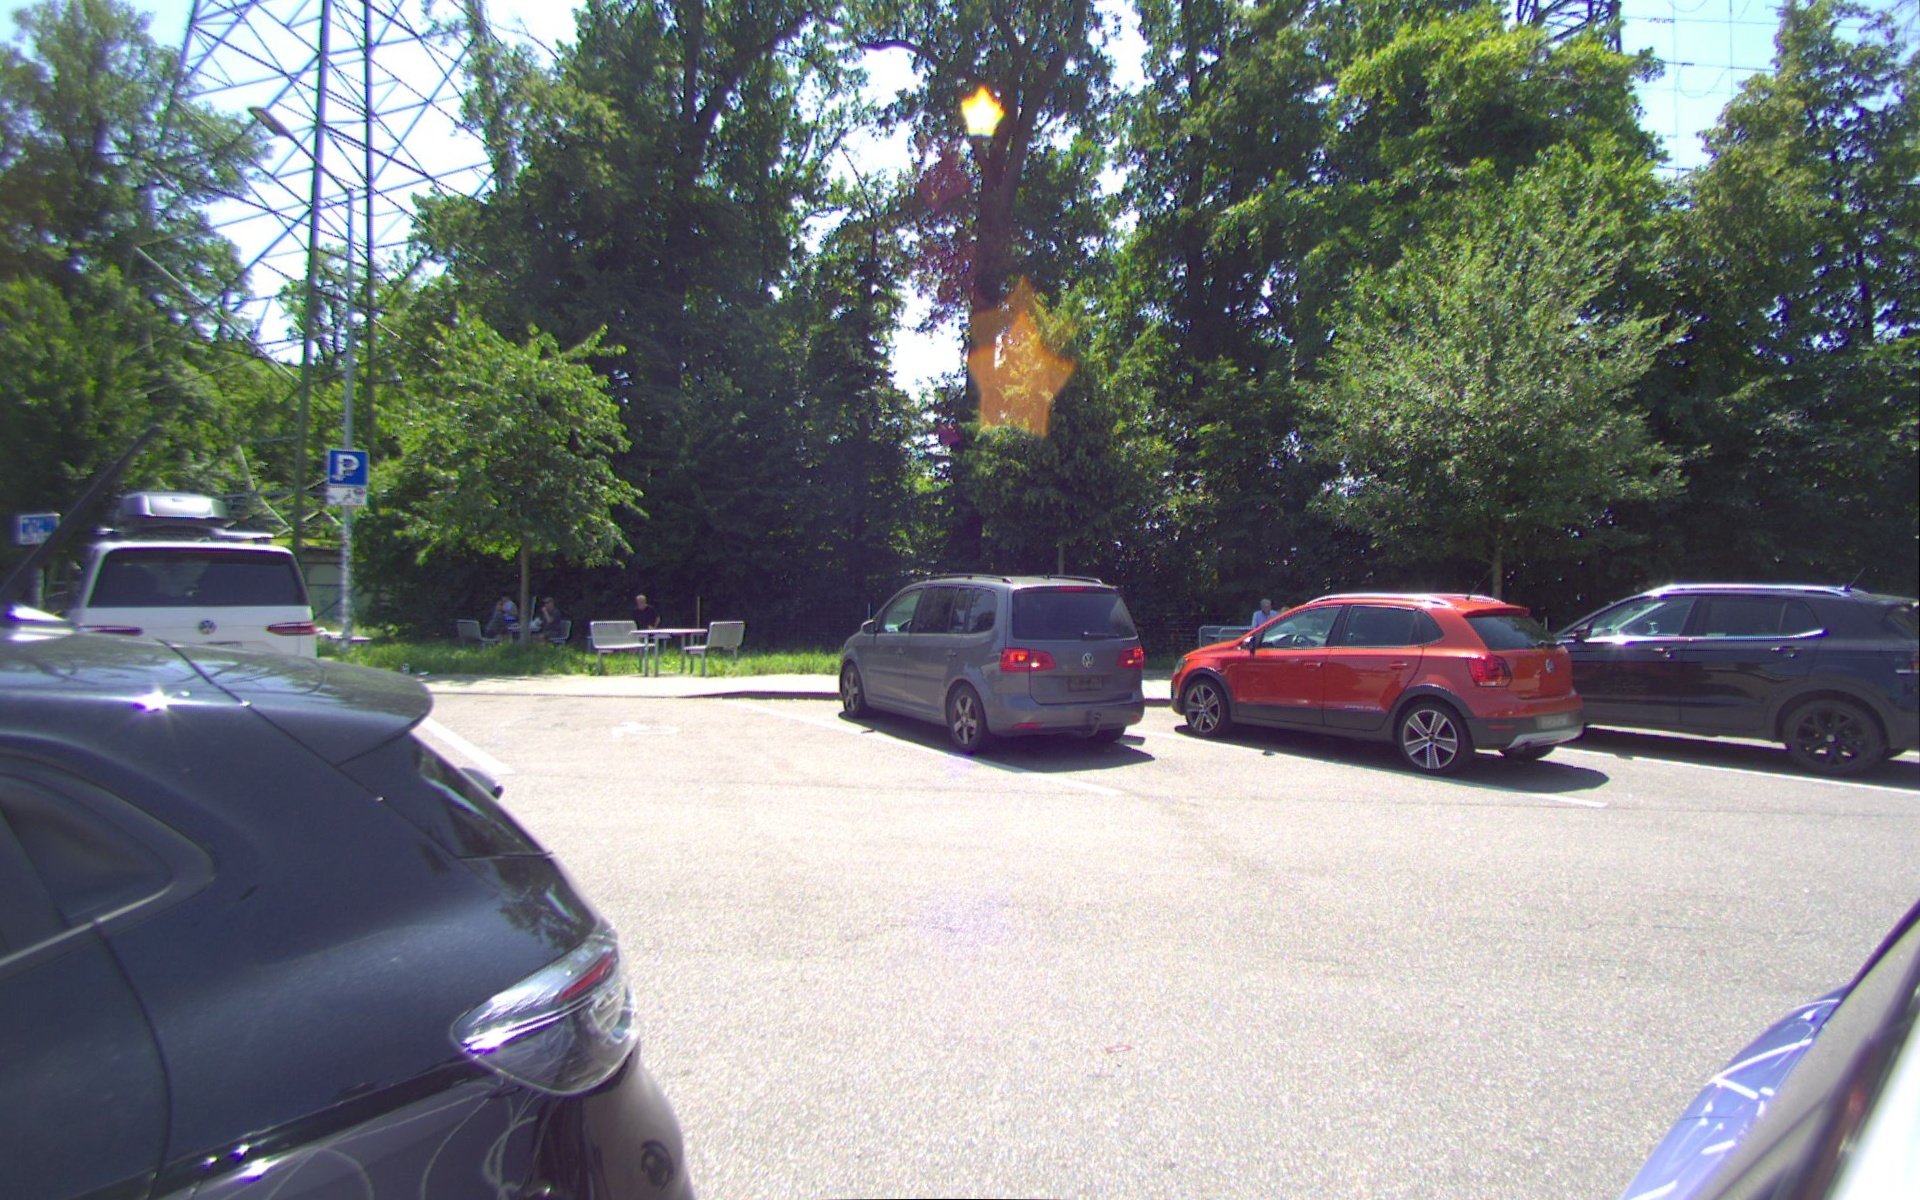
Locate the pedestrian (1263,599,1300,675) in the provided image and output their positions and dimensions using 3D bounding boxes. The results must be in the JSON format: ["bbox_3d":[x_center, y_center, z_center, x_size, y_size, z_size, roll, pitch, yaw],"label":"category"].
[{"bbox_3d":[5.679,0.650,17.886,0.495,1.316,0.491,1,-1,0],"label":"pedestrian"}]

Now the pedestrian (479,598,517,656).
[{"bbox_3d":[-10.443,0.609,22.869,0.630,1.287,0.579,1,-1,-39],"label":"pedestrian"}]

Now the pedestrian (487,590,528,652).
[{"bbox_3d":[-10.955,0.501,24.503,0.722,1.478,0.669,1,-1,-39],"label":"pedestrian"}]

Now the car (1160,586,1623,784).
[{"bbox_3d":[3.852,0.613,9.641,1.604,1.476,3.810,0,1,-34],"label":"car"}]

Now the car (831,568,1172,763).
[{"bbox_3d":[0.216,0.509,10.544,1.717,1.611,3.961,0,1,-30],"label":"car"}]

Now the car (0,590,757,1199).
[{"bbox_3d":[-2.135,0.724,0.577,1.615,1.503,3.706,0,-1,44],"label":"car"}]

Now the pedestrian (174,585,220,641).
[{"bbox_3d":[-19.225,0.317,25.507,0.597,1.391,0.707,1,-1,9],"label":"pedestrian"}]

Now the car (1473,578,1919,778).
[{"bbox_3d":[7.230,0.584,9.665,1.727,1.566,3.806,0,1,-39],"label":"car"}]

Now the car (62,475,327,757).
[{"bbox_3d":[-8.074,0.097,10.616,1.885,2.353,4.089,0,1,-40],"label":"car"}]

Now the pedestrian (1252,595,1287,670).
[{"bbox_3d":[5.802,0.600,19.010,0.495,1.393,0.491,1,-1,0],"label":"pedestrian"}]

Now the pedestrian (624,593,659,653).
[{"bbox_3d":[-6.694,0.475,21.293,0.550,1.229,0.599,1,-1,-1],"label":"pedestrian"}]

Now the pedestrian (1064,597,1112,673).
[{"bbox_3d":[2.127,0.579,16.852,0.660,1.235,0.682,1,-2,-5],"label":"pedestrian"}]

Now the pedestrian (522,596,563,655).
[{"bbox_3d":[-9.723,0.593,23.566,0.722,1.343,0.669,1,-1,-39],"label":"pedestrian"}]
